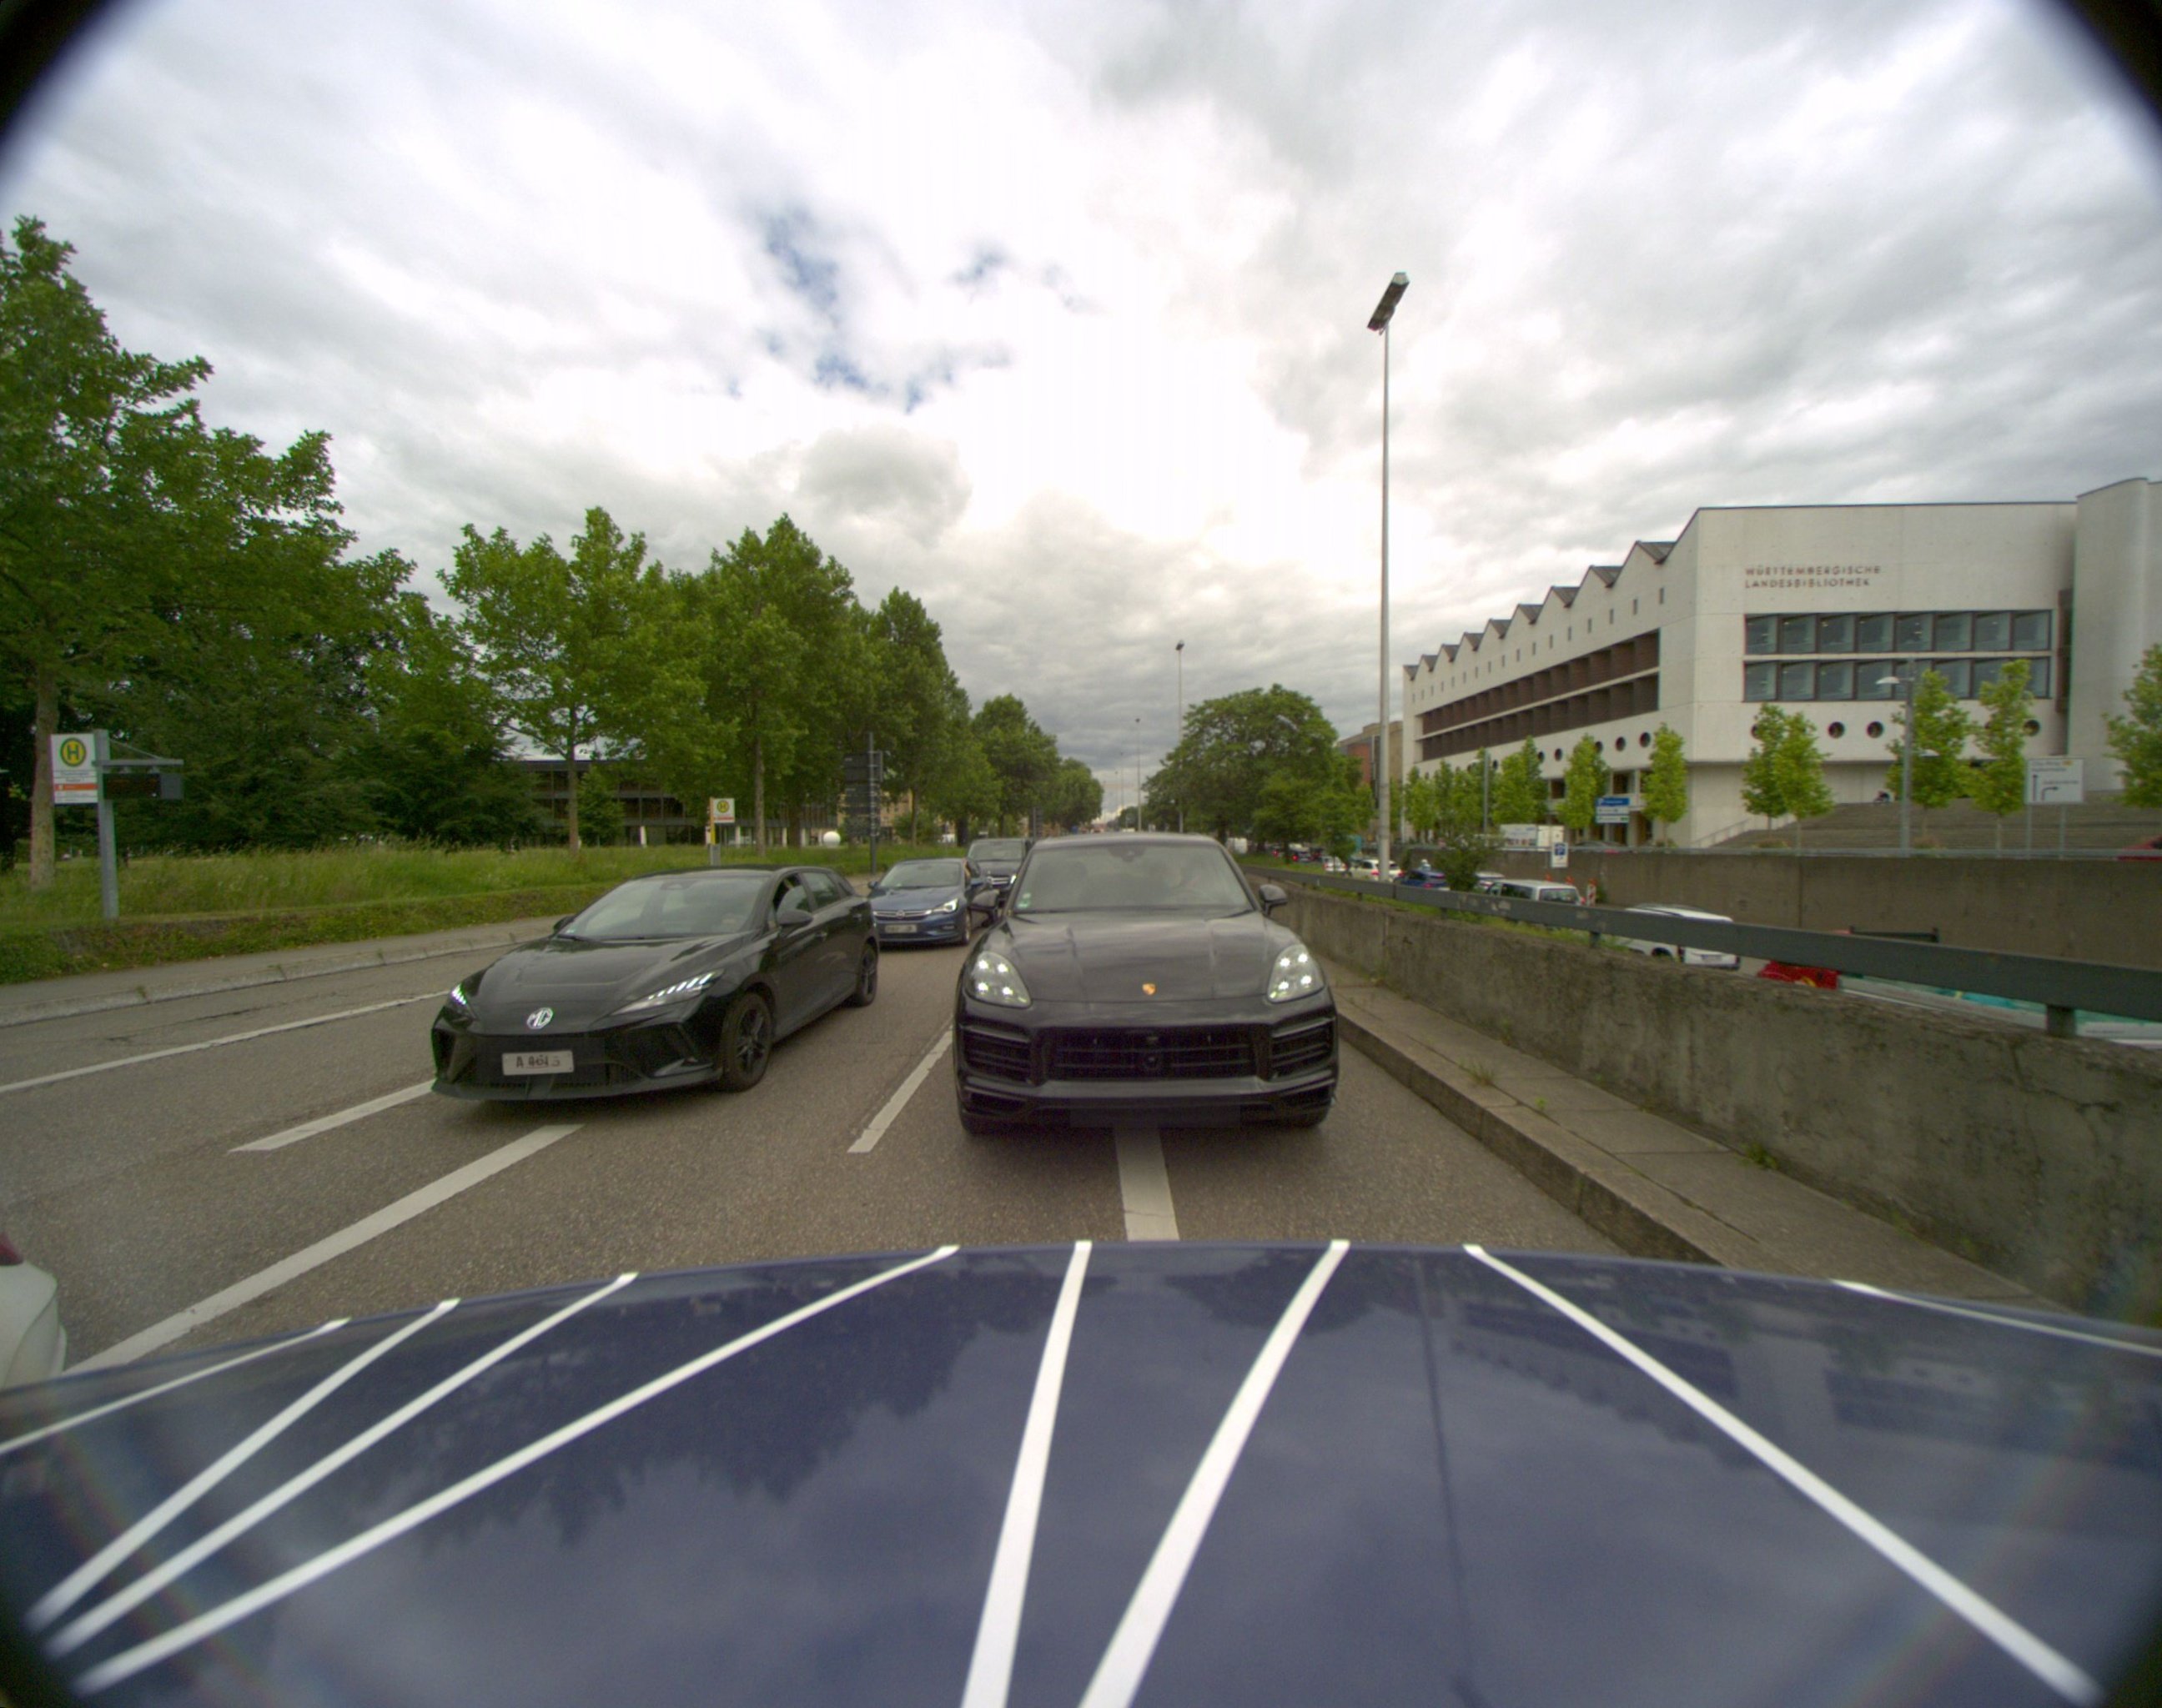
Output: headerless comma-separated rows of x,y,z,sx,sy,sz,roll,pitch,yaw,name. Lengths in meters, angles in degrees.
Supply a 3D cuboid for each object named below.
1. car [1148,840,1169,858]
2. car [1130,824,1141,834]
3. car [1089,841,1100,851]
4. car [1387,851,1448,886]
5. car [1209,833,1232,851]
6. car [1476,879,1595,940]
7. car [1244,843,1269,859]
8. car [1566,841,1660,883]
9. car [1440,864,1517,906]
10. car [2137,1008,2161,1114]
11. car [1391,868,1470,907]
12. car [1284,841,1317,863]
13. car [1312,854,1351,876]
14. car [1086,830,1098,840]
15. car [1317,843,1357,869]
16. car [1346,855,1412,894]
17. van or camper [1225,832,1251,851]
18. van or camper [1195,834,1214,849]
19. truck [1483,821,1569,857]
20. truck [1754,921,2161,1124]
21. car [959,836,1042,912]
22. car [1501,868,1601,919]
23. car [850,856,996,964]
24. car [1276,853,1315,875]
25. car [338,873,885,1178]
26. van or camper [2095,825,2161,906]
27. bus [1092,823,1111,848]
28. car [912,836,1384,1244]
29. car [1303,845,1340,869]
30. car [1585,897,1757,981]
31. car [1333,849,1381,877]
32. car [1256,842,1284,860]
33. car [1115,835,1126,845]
8.636,-0.536,85.301,1.998,2.001,4.001,-1,-1,1,car
11.686,-5.267,163.600,1.997,2.002,4.002,-2,1,9,car
2.008,-1.149,113.659,1.565,1.409,3.619,-2,0,1,car
20.967,0.866,47.552,1.998,2.002,4.000,2,0,1,car
17.145,-1.396,93.472,1.998,2.002,4.000,-5,0,1,car
17.561,2.082,29.654,1.998,2.002,4.332,2,0,1,car
17.043,-0.318,74.073,1.675,1.477,3.361,-2,0,1,car
27.558,0.380,39.546,1.999,2.002,3.999,-2,1,-1,car
21.024,1.602,40.377,1.998,2.002,4.000,2,0,1,car
20.060,3.683,11.758,1.999,1.805,3.864,0,1,-1,car
17.605,1.642,38.507,1.998,1.733,4.281,2,0,1,car
21.307,-0.160,74.005,1.998,2.002,4.000,2,0,1,car
17.589,0.735,53.556,1.675,1.477,3.361,0,1,1,car
2.242,-3.830,154.738,1.997,2.002,4.002,-2,0,9,car
21.252,0.163,63.272,1.998,2.002,4.000,2,0,1,car
17.698,1.188,45.428,1.998,2.119,4.852,2,0,1,car
17.201,-1.355,83.222,2.036,2.002,4.000,-2,0,1,van or camper
16.784,-1.676,103.389,2.036,2.002,4.000,-2,0,1,van or camper
29.343,-0.937,50.407,2.002,2.145,5.616,-2,0,-5,truck
17.281,2.991,15.247,2.324,2.675,5.979,-2,0,1,truck
-2.125,0.470,21.197,1.723,1.851,4.430,-2,1,1,car
21.170,1.734,34.443,1.998,2.002,4.000,2,0,1,car
-2.609,0.848,13.455,1.573,1.528,4.001,-2,1,2,car
17.287,0.771,61.332,1.998,1.650,4.000,-1,0,1,car
-3.102,0.992,6.218,1.829,1.515,4.119,-2,0,1,car
27.880,0.263,17.836,1.999,2.002,4.556,-1,0,-2,van or camper
3.735,-3.312,137.322,3.043,4.328,8.748,-1,1,0,bus
0.315,0.784,5.535,1.937,1.668,4.679,-2,0,1,car
21.313,0.223,67.429,1.998,2.002,4.000,2,0,1,car
17.446,2.431,22.774,1.998,2.002,4.000,2,0,1,car
21.082,0.682,58.206,1.998,2.002,4.655,-2,0,1,car
16.771,-0.282,67.425,1.675,1.477,3.361,-2,0,1,car
8.421,-2.897,162.536,1.998,2.002,4.000,-1,0,1,car
